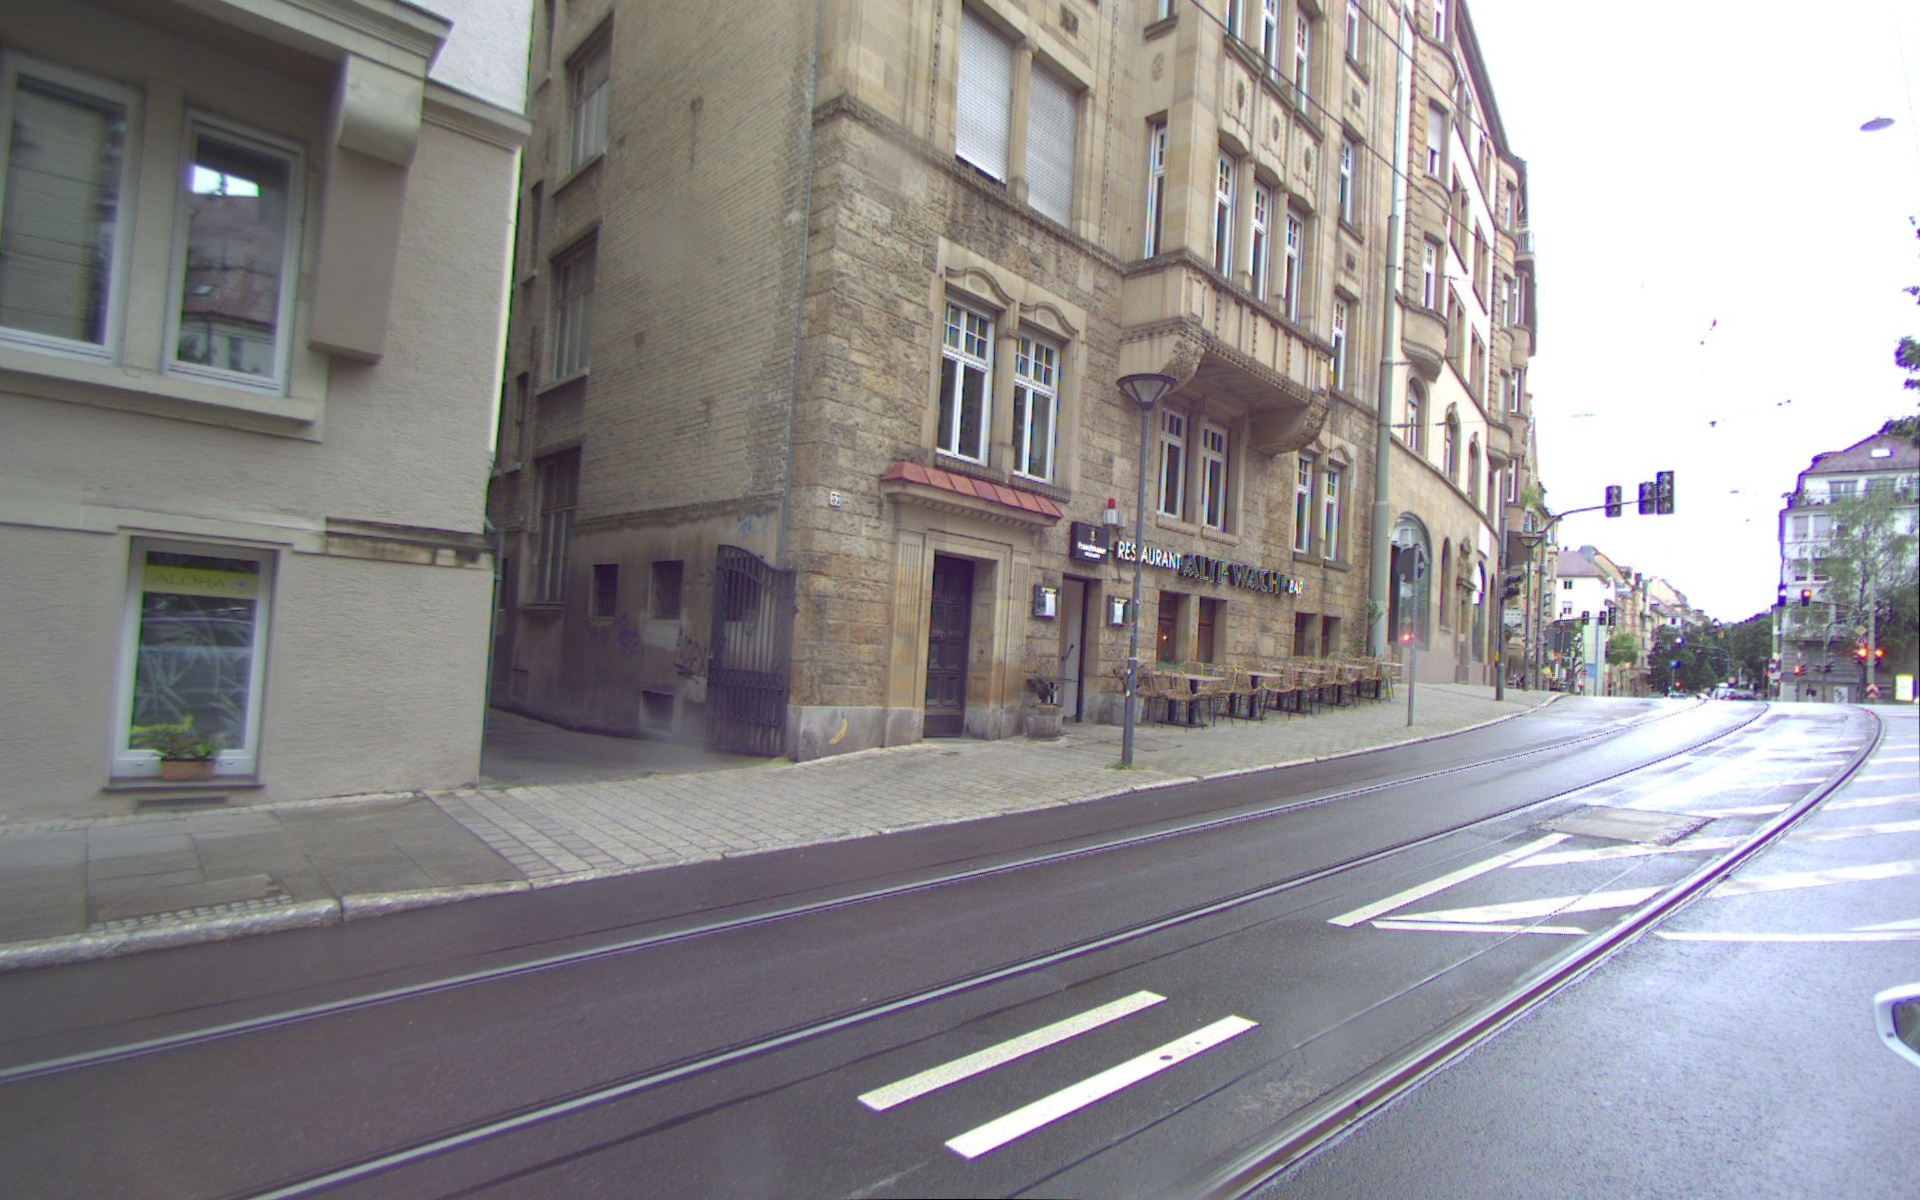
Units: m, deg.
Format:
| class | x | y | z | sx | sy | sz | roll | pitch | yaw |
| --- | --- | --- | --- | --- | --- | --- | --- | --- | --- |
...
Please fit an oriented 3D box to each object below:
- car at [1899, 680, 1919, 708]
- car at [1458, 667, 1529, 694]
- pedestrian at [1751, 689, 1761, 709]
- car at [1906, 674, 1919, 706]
| class | x | y | z | sx | sy | sz | roll | pitch | yaw |
| --- | --- | --- | --- | --- | --- | --- | --- | --- | --- |
| car | 60.970 | 5.835 | 62.481 | 3.930 | 1.635 | 1.796 | 1 | -2 | -12 |
| car | 34.445 | 5.152 | 64.891 | 3.932 | 1.530 | 1.795 | -1 | -2 | 33 |
| pedestrian | 70.154 | 8.680 | 88.487 | 0.640 | 1.683 | 0.647 | 1 | -1 | 40 |
| car | 49.840 | 4.535 | 50.860 | 3.954 | 1.530 | 1.786 | 2 | -4 | -31 |
